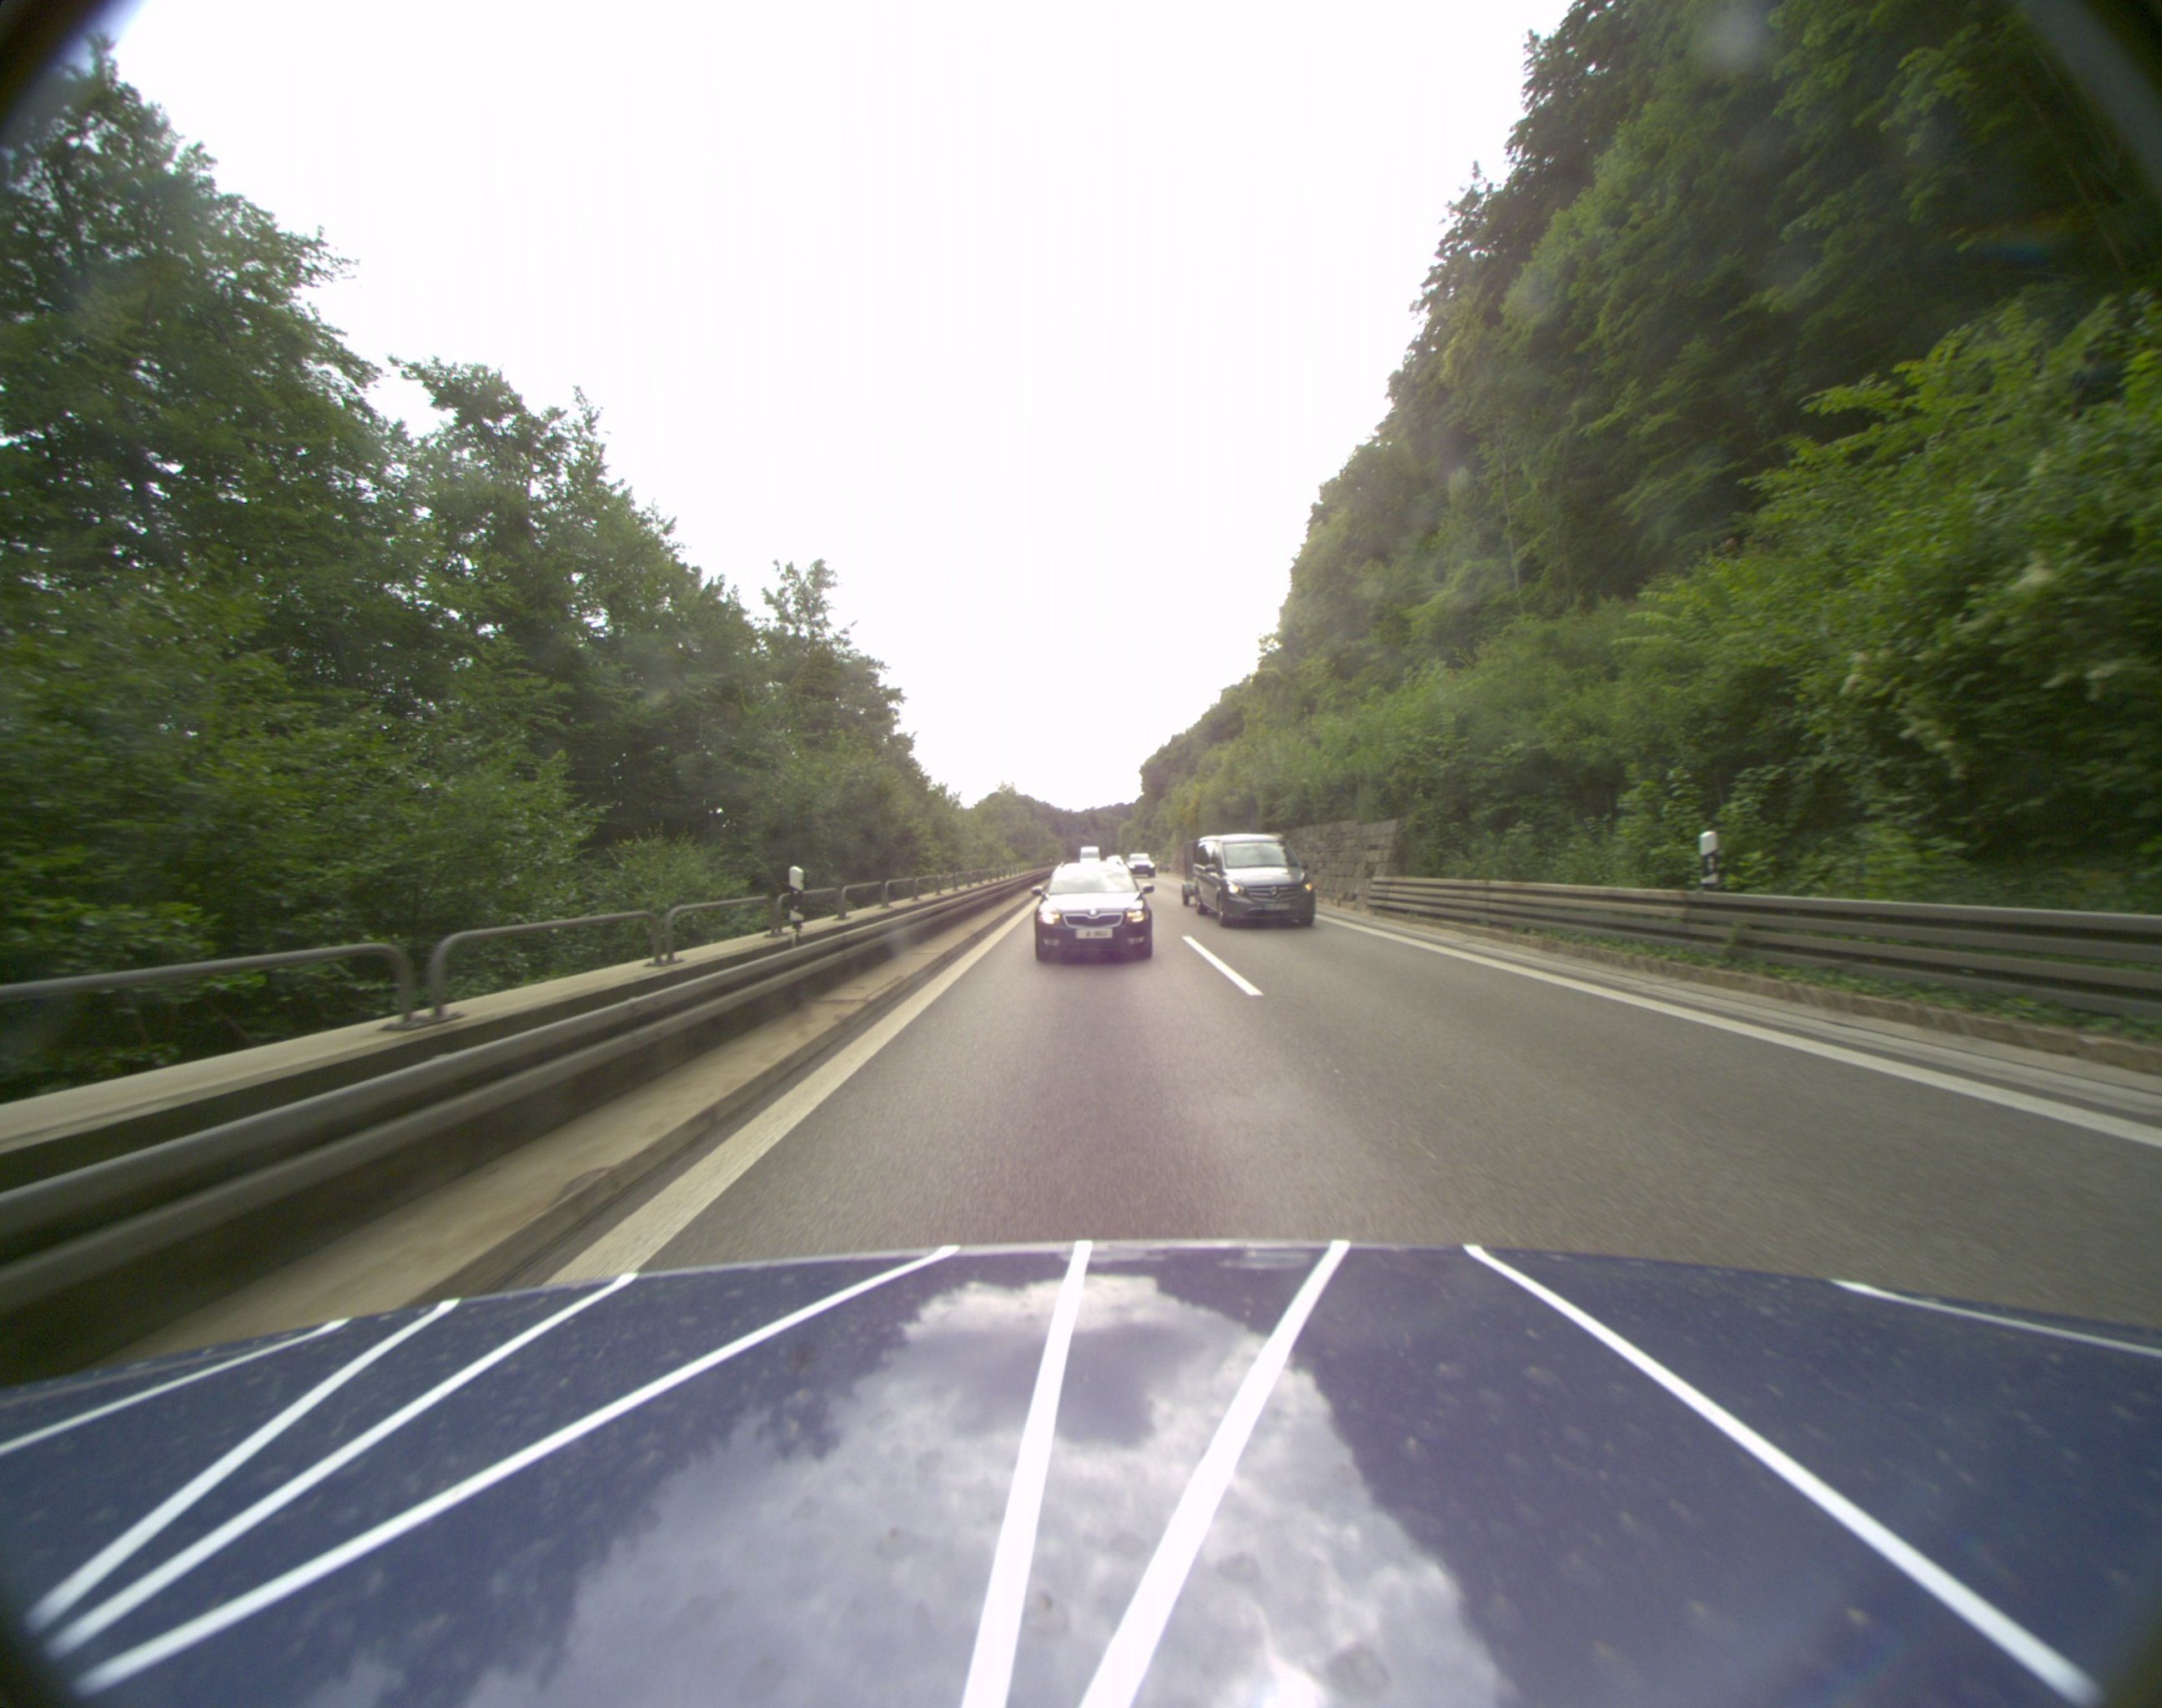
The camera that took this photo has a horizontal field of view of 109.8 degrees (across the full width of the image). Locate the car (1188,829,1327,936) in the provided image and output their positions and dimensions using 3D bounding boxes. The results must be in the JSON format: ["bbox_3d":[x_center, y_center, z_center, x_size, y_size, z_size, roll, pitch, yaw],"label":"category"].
[{"bbox_3d":[3.793,0.568,17.435,1.998,2.002,5.541,-2,0,2],"label":"car"}]

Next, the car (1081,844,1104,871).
[{"bbox_3d":[1.179,0.369,74.830,2.099,2.547,5.921,1,-1,2],"label":"car"}]

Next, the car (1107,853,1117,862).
[{"bbox_3d":[5.478,0.586,135.460,1.823,1.546,4.001,1,-1,2],"label":"car"}]

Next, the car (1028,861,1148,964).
[{"bbox_3d":[0.138,0.876,12.898,1.638,1.384,4.500,-2,-1,1],"label":"car"}]

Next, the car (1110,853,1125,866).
[{"bbox_3d":[4.776,0.739,99.919,1.823,1.546,4.001,1,-1,1],"label":"car"}]

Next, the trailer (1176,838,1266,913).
[{"bbox_3d":[3.932,0.588,21.882,1.976,1.928,3.431,-2,0,2],"label":"trailer"}]

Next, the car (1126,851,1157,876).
[{"bbox_3d":[4.267,0.643,54.055,1.976,1.584,5.585,-1,1,2],"label":"car"}]
